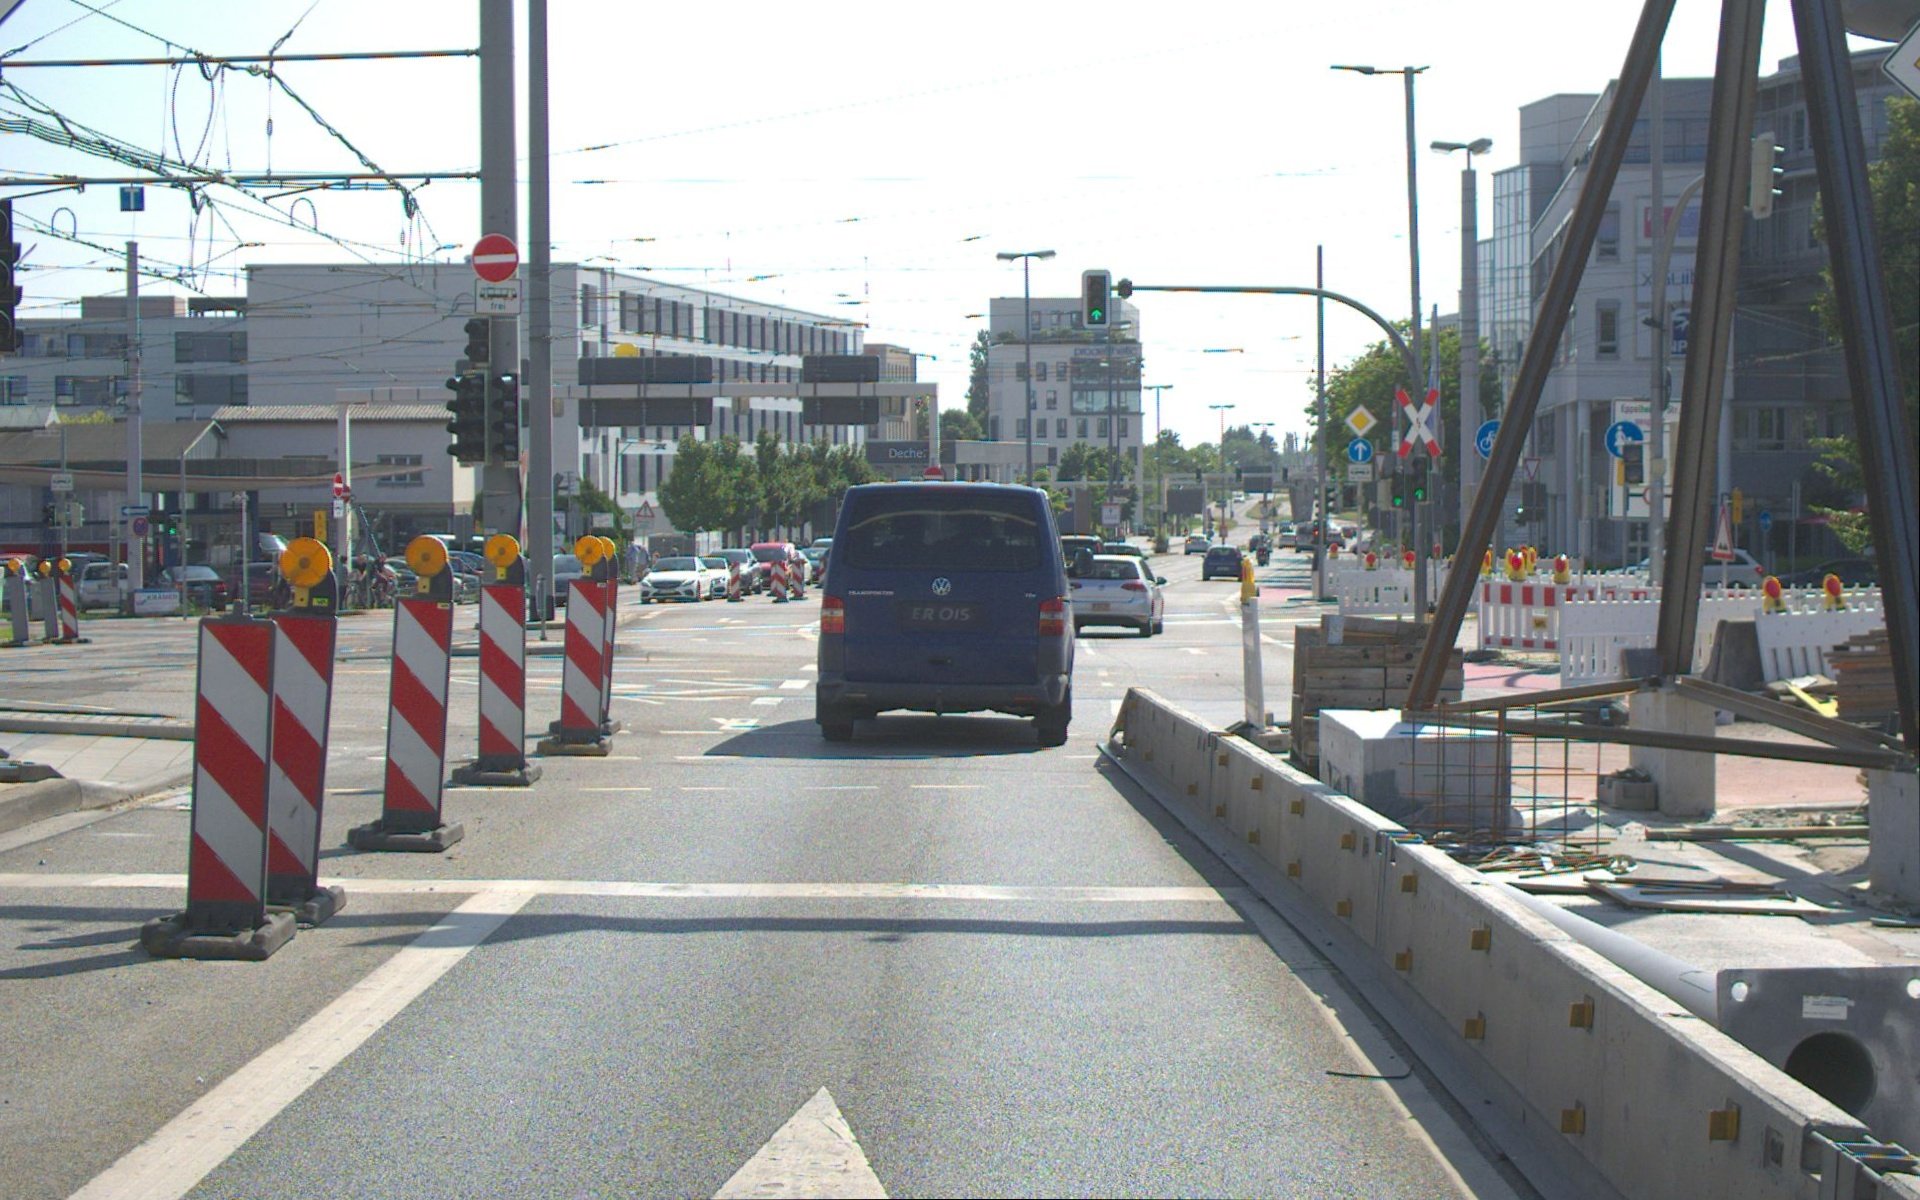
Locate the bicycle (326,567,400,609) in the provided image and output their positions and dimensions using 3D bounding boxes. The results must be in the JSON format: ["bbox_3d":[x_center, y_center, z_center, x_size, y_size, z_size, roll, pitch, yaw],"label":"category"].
[{"bbox_3d":[-16.369,-0.335,94.325,0.882,1.065,2.805,4,1,14],"label":"bicycle"}]

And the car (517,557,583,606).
[{"bbox_3d":[-12.967,-0.605,108.919,1.747,1.481,4.001,0,1,-2],"label":"car"}]

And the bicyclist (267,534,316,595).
[{"bbox_3d":[-17.967,-0.939,92.399,0.876,1.573,0.969,4,1,14],"label":"bicyclist"}]

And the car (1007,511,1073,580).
[{"bbox_3d":[2.089,-1.454,90.365,1.645,1.722,4.000,2,2,1],"label":"car"}]

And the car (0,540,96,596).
[{"bbox_3d":[-26.716,-0.942,100.745,1.777,1.532,4.000,-2,1,0],"label":"car"}]

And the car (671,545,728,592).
[{"bbox_3d":[-8.707,-1.075,115.065,1.747,1.481,4.001,0,1,-2],"label":"car"}]

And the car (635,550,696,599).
[{"bbox_3d":[-9.291,-0.817,108.653,1.747,1.476,4.001,0,1,-2],"label":"car"}]

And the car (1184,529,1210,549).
[{"bbox_3d":[16.773,-4.330,243.274,1.547,1.335,3.016,1,1,-2],"label":"car"}]

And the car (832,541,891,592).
[{"bbox_3d":[-3.080,-1.059,106.543,1.747,1.525,4.001,0,1,-2],"label":"car"}]

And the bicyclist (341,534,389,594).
[{"bbox_3d":[-16.327,-0.990,94.329,0.876,1.573,0.969,4,1,14],"label":"bicyclist"}]

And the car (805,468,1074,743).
[{"bbox_3d":[-0.118,-0.034,26.699,1.888,1.927,4.000,2,2,1],"label":"car"}]

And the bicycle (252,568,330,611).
[{"bbox_3d":[-17.986,-0.291,92.515,0.882,1.065,2.805,4,1,14],"label":"bicycle"}]

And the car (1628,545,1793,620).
[{"bbox_3d":[19.218,-0.455,88.137,3.813,1.791,1.681,1,2,-1],"label":"car"}]

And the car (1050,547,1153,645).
[{"bbox_3d":[2.548,-0.100,62.509,1.684,1.600,3.617,1,2,0],"label":"car"}]

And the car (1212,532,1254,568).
[{"bbox_3d":[11.484,-2.098,144.461,1.744,1.470,3.884,0,1,5],"label":"car"}]

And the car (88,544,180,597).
[{"bbox_3d":[-24.465,-0.895,101.938,1.777,1.532,4.000,0,1,0],"label":"car"}]
